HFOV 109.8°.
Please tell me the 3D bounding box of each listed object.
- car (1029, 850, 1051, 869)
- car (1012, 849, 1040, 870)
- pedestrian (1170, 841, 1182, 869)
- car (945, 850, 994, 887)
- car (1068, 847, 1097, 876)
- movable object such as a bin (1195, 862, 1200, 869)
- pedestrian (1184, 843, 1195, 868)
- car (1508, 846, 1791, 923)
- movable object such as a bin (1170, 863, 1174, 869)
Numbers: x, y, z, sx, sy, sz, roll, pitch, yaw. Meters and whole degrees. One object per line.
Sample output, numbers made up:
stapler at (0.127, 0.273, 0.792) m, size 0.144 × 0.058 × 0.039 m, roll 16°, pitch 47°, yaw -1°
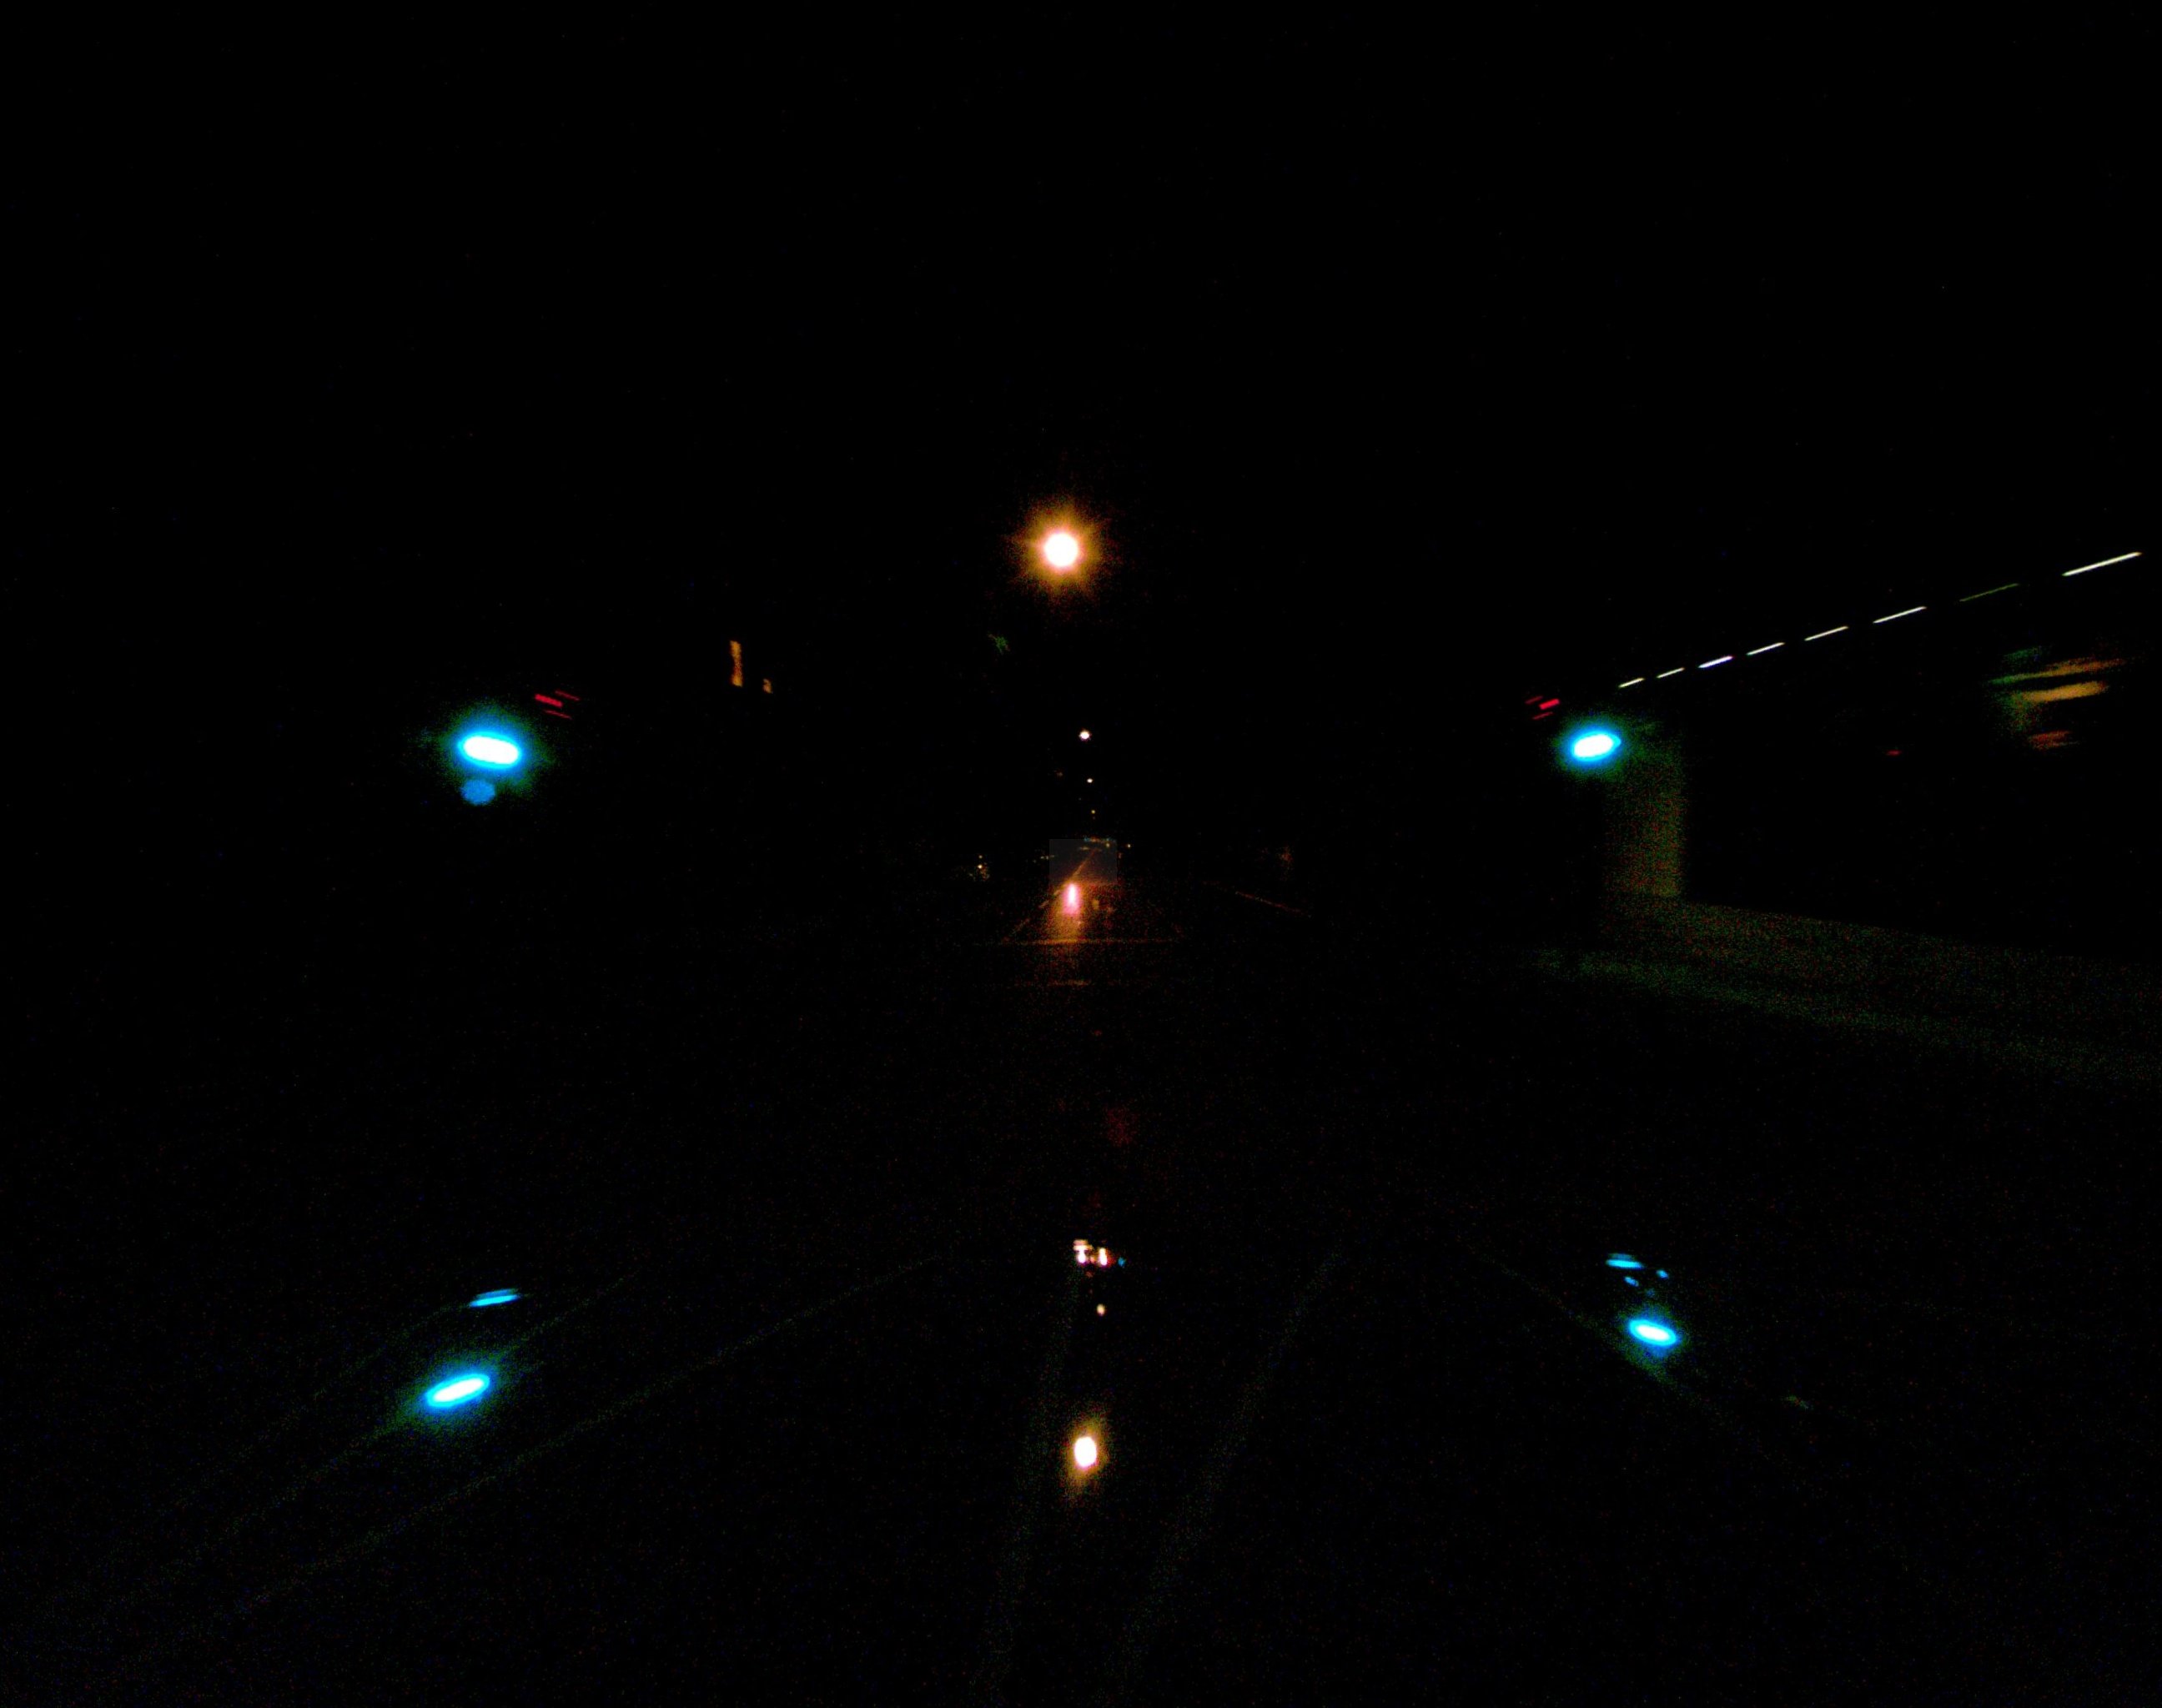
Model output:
car at (-3.462, 0.459, 65.183) m, size 1.536 × 1.583 × 3.556 m, roll 0°, pitch 1°, yaw 3°
car at (-3.715, 0.350, 51.731) m, size 1.536 × 1.407 × 3.408 m, roll 0°, pitch 1°, yaw 3°
pedestrian at (5.857, 0.057, 46.789) m, size 0.649 × 1.632 × 0.748 m, roll -2°, pitch 1°, yaw 4°
car at (-4.770, 0.594, 32.927) m, size 1.626 × 1.485 × 3.408 m, roll 0°, pitch 1°, yaw 0°
car at (0.076, 0.403, 43.111) m, size 1.513 × 1.493 × 3.049 m, roll -3°, pitch 1°, yaw 0°
movable object such as a bin at (7.225, 0.691, 47.245) m, size 0.231 × 0.404 × 0.466 m, roll -2°, pitch 1°, yaw 4°
pedestrian at (6.764, 0.107, 47.276) m, size 0.561 × 1.521 × 0.590 m, roll -2°, pitch 1°, yaw 2°
car at (10.589, 0.534, 14.378) m, size 3.997 × 1.355 × 1.802 m, roll 0°, pitch 1°, yaw 0°
movable object such as a bin at (5.761, 0.775, 48.000) m, size 0.231 × 0.350 × 0.466 m, roll -2°, pitch 1°, yaw 4°
